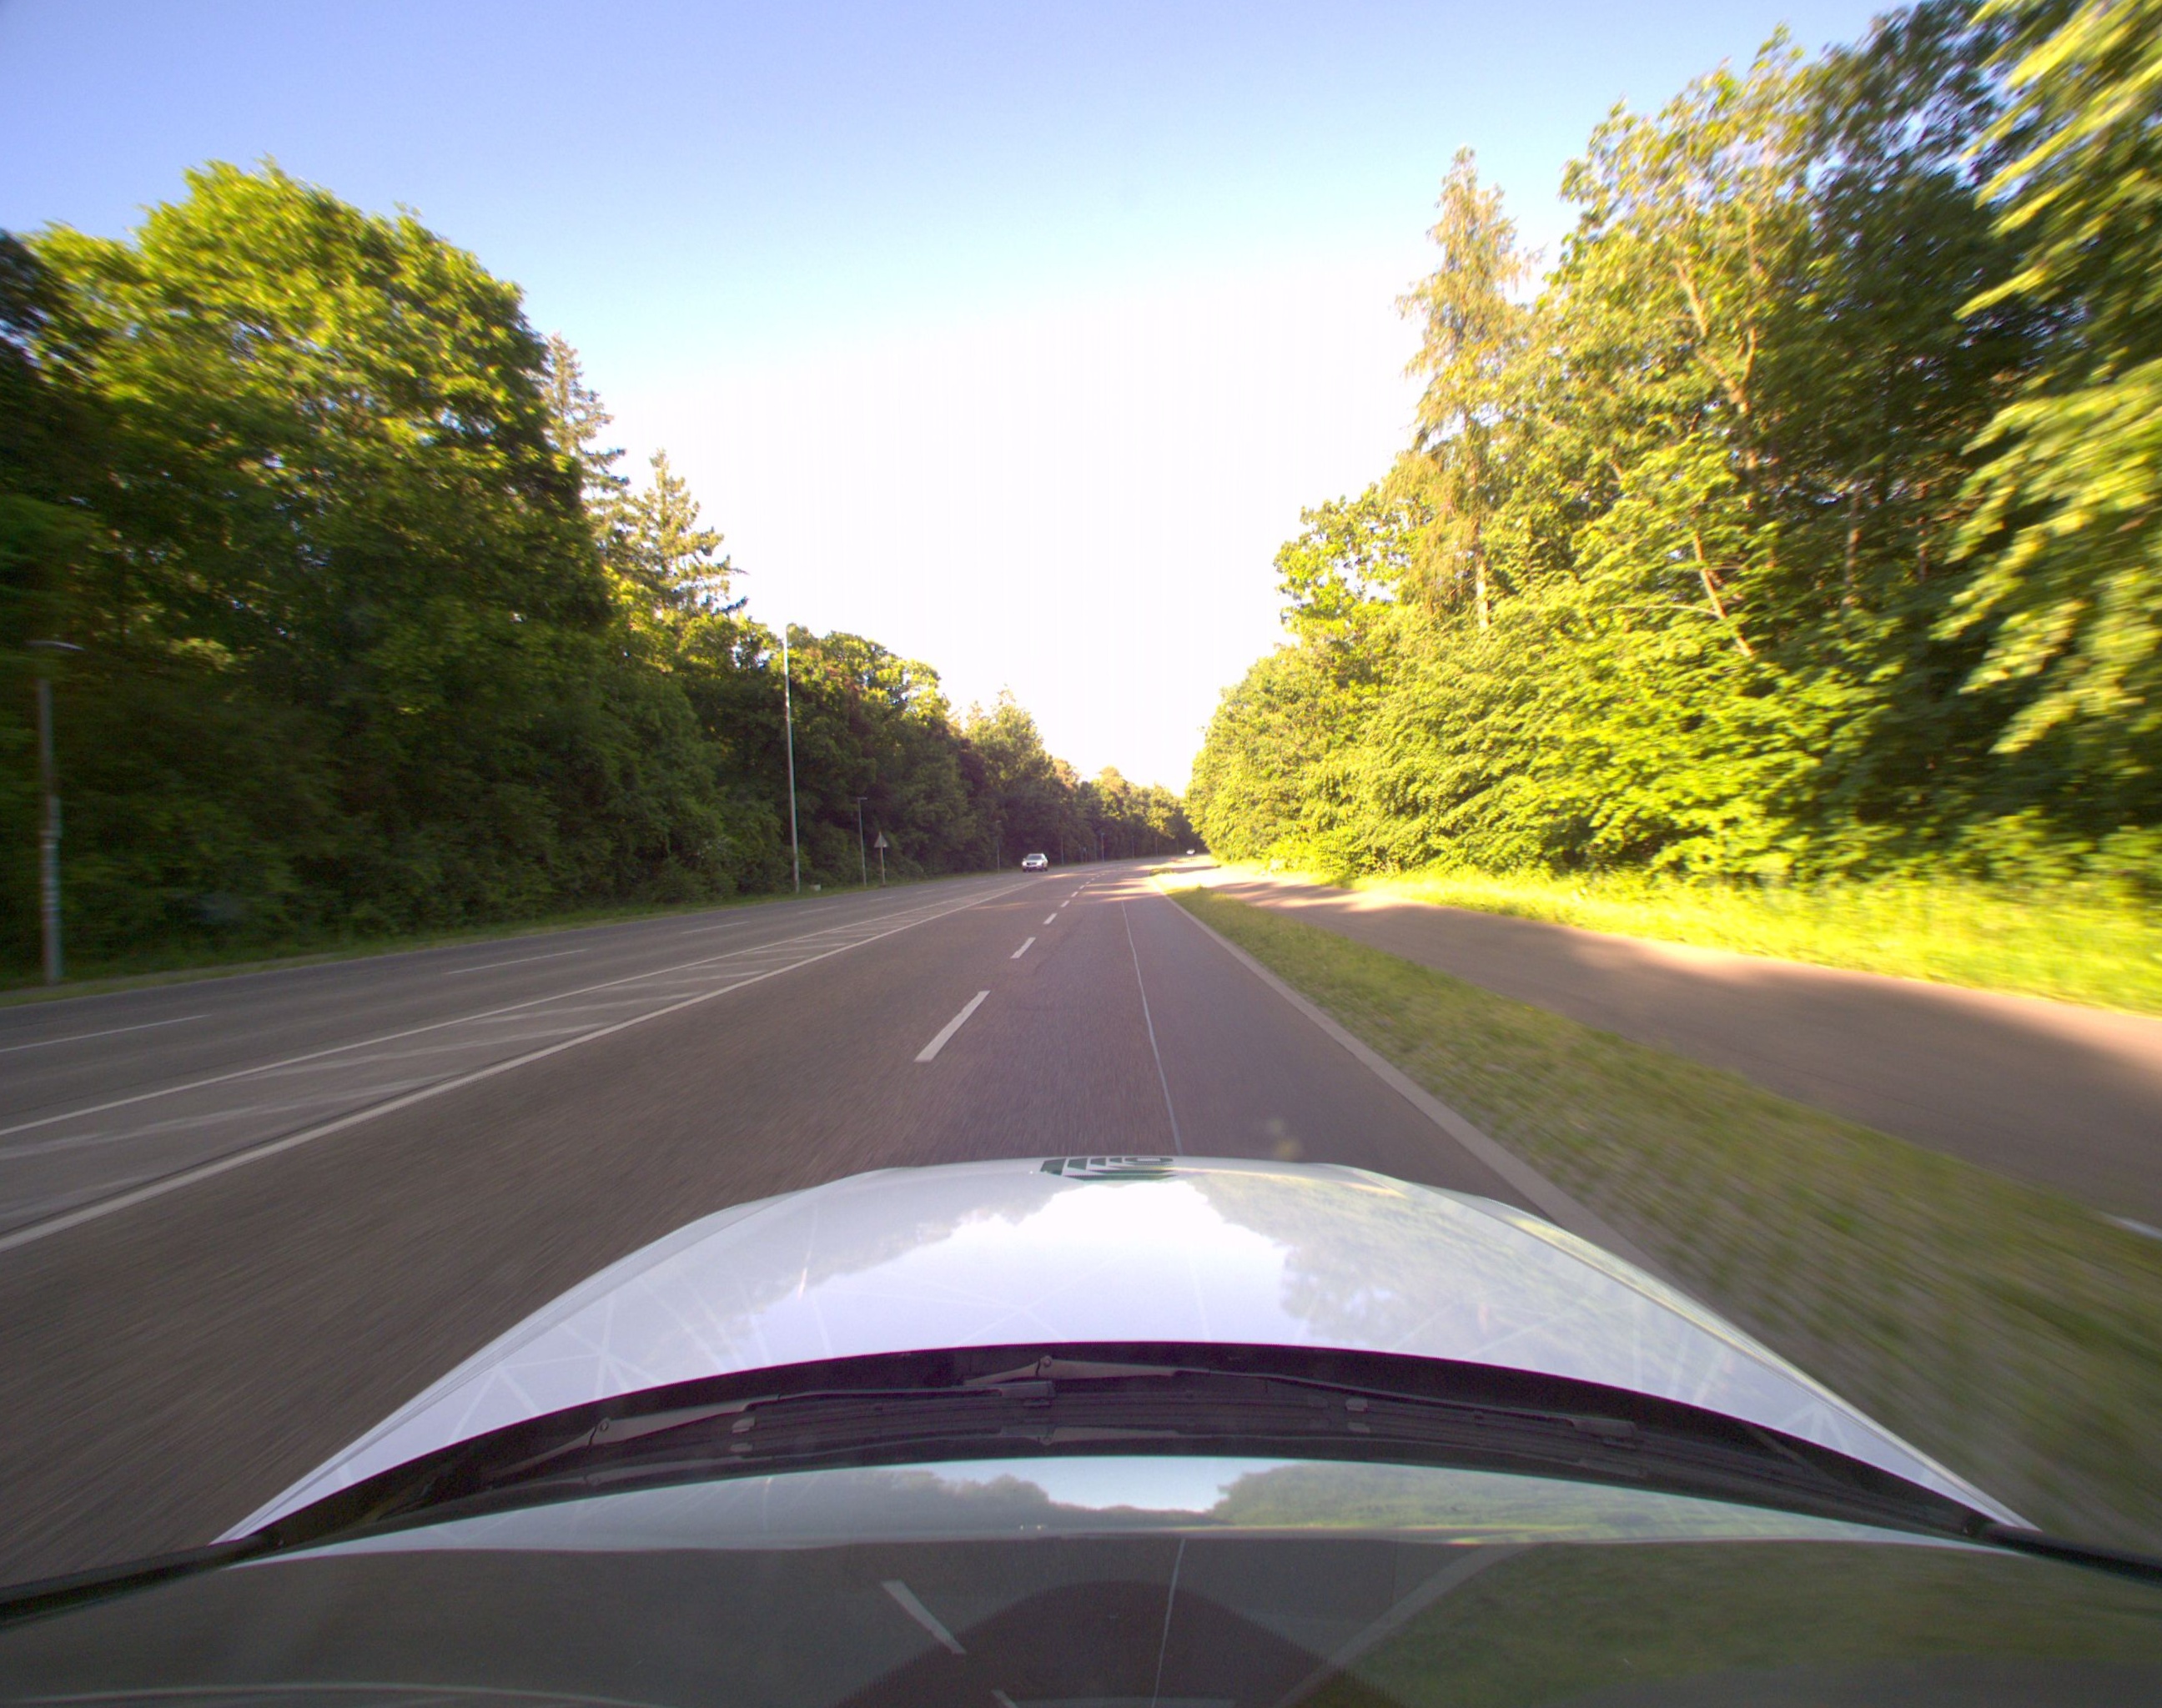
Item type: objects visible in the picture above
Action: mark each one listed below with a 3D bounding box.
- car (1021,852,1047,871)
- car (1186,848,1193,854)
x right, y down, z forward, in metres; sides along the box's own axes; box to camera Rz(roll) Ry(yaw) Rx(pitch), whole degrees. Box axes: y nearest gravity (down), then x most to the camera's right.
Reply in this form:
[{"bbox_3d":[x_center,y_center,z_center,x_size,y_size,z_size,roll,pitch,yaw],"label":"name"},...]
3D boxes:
[{"bbox_3d":[-4.268,0.666,75.073,1.900,1.664,4.736,-2,0,2],"label":"car"},{"bbox_3d":[33.589,-0.960,252.566,1.983,1.585,4.006,-2,-1,6],"label":"car"}]
